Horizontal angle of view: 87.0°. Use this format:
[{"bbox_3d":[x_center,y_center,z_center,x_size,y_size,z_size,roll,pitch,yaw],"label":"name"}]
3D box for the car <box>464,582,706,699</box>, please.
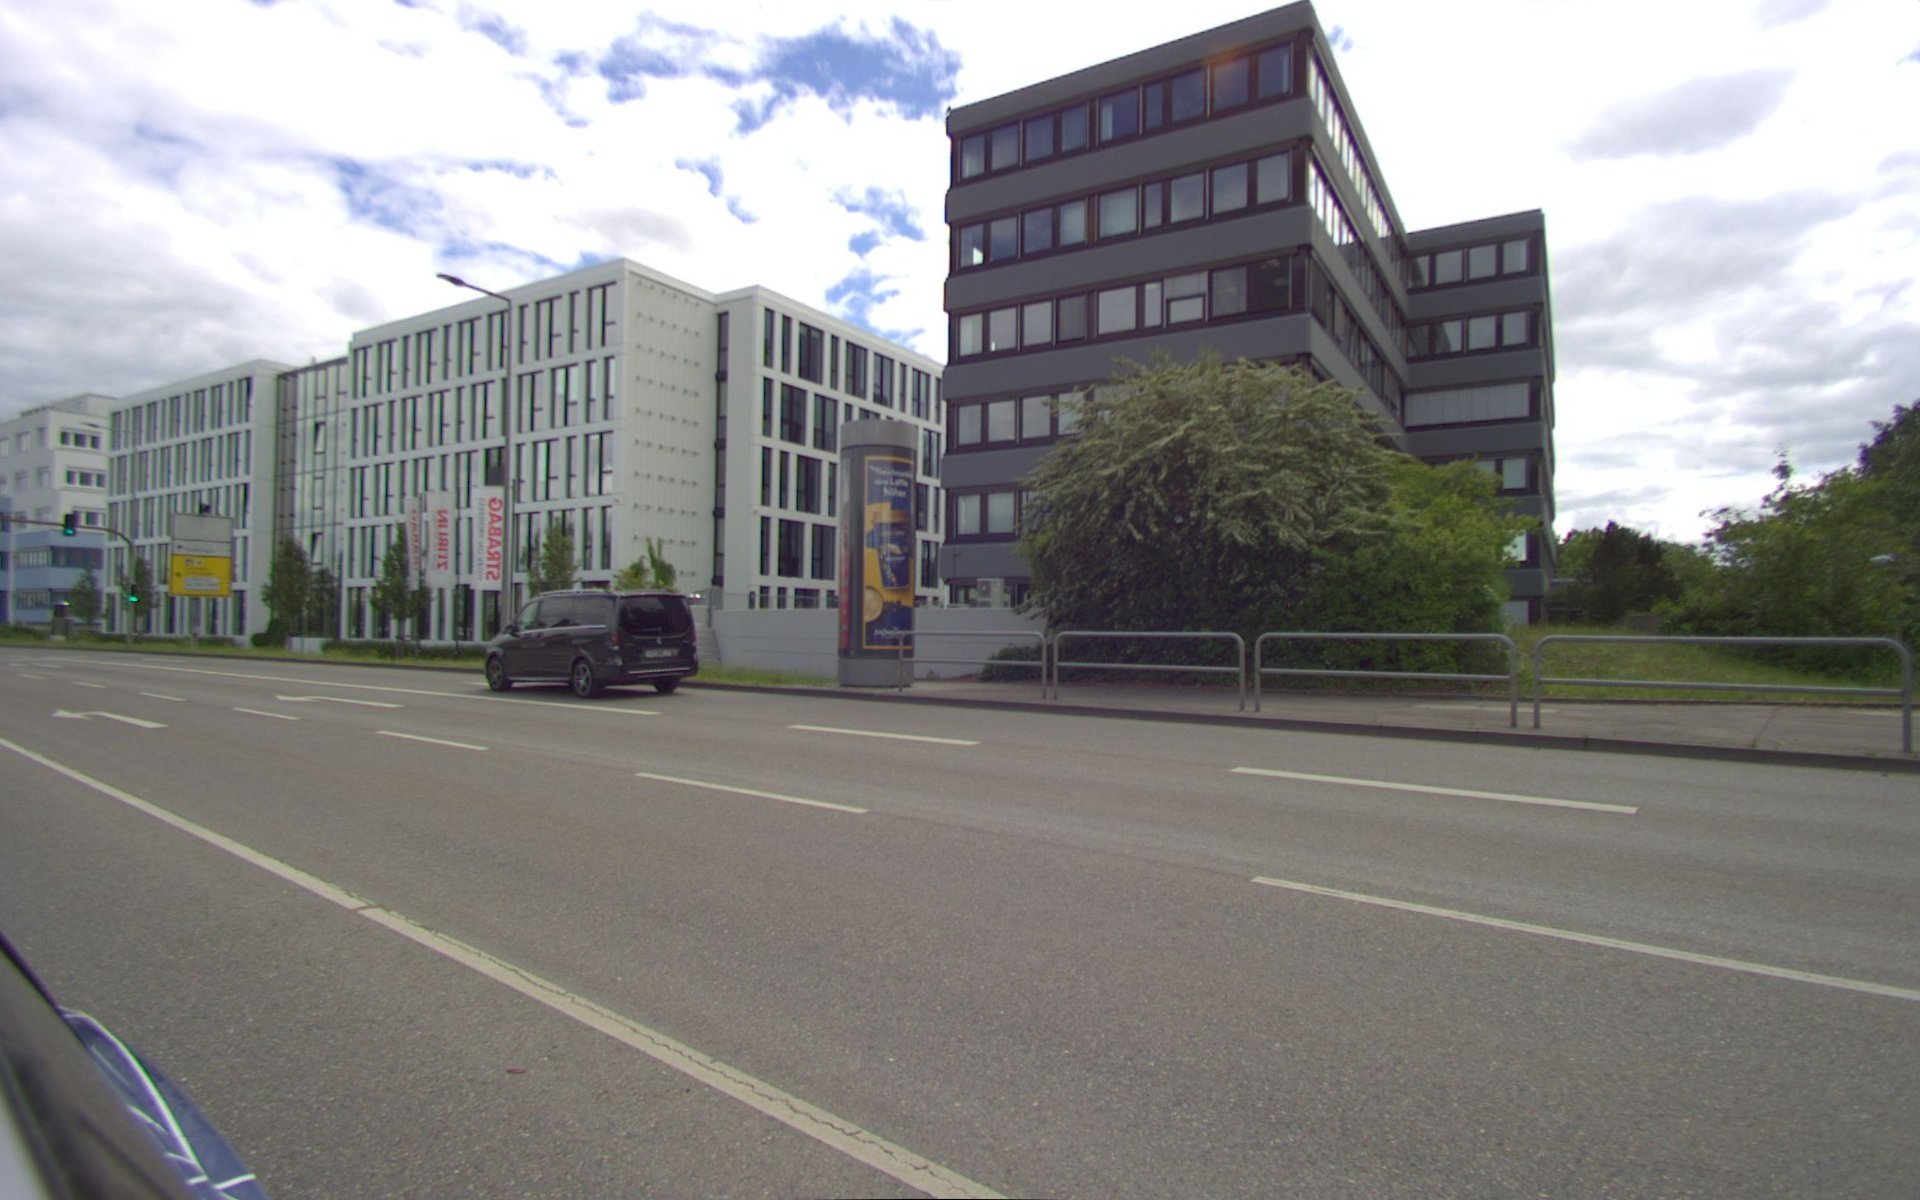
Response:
[{"bbox_3d":[-7.322,0.746,19.470,5.360,1.962,1.998,-1,-2,40],"label":"car"}]
